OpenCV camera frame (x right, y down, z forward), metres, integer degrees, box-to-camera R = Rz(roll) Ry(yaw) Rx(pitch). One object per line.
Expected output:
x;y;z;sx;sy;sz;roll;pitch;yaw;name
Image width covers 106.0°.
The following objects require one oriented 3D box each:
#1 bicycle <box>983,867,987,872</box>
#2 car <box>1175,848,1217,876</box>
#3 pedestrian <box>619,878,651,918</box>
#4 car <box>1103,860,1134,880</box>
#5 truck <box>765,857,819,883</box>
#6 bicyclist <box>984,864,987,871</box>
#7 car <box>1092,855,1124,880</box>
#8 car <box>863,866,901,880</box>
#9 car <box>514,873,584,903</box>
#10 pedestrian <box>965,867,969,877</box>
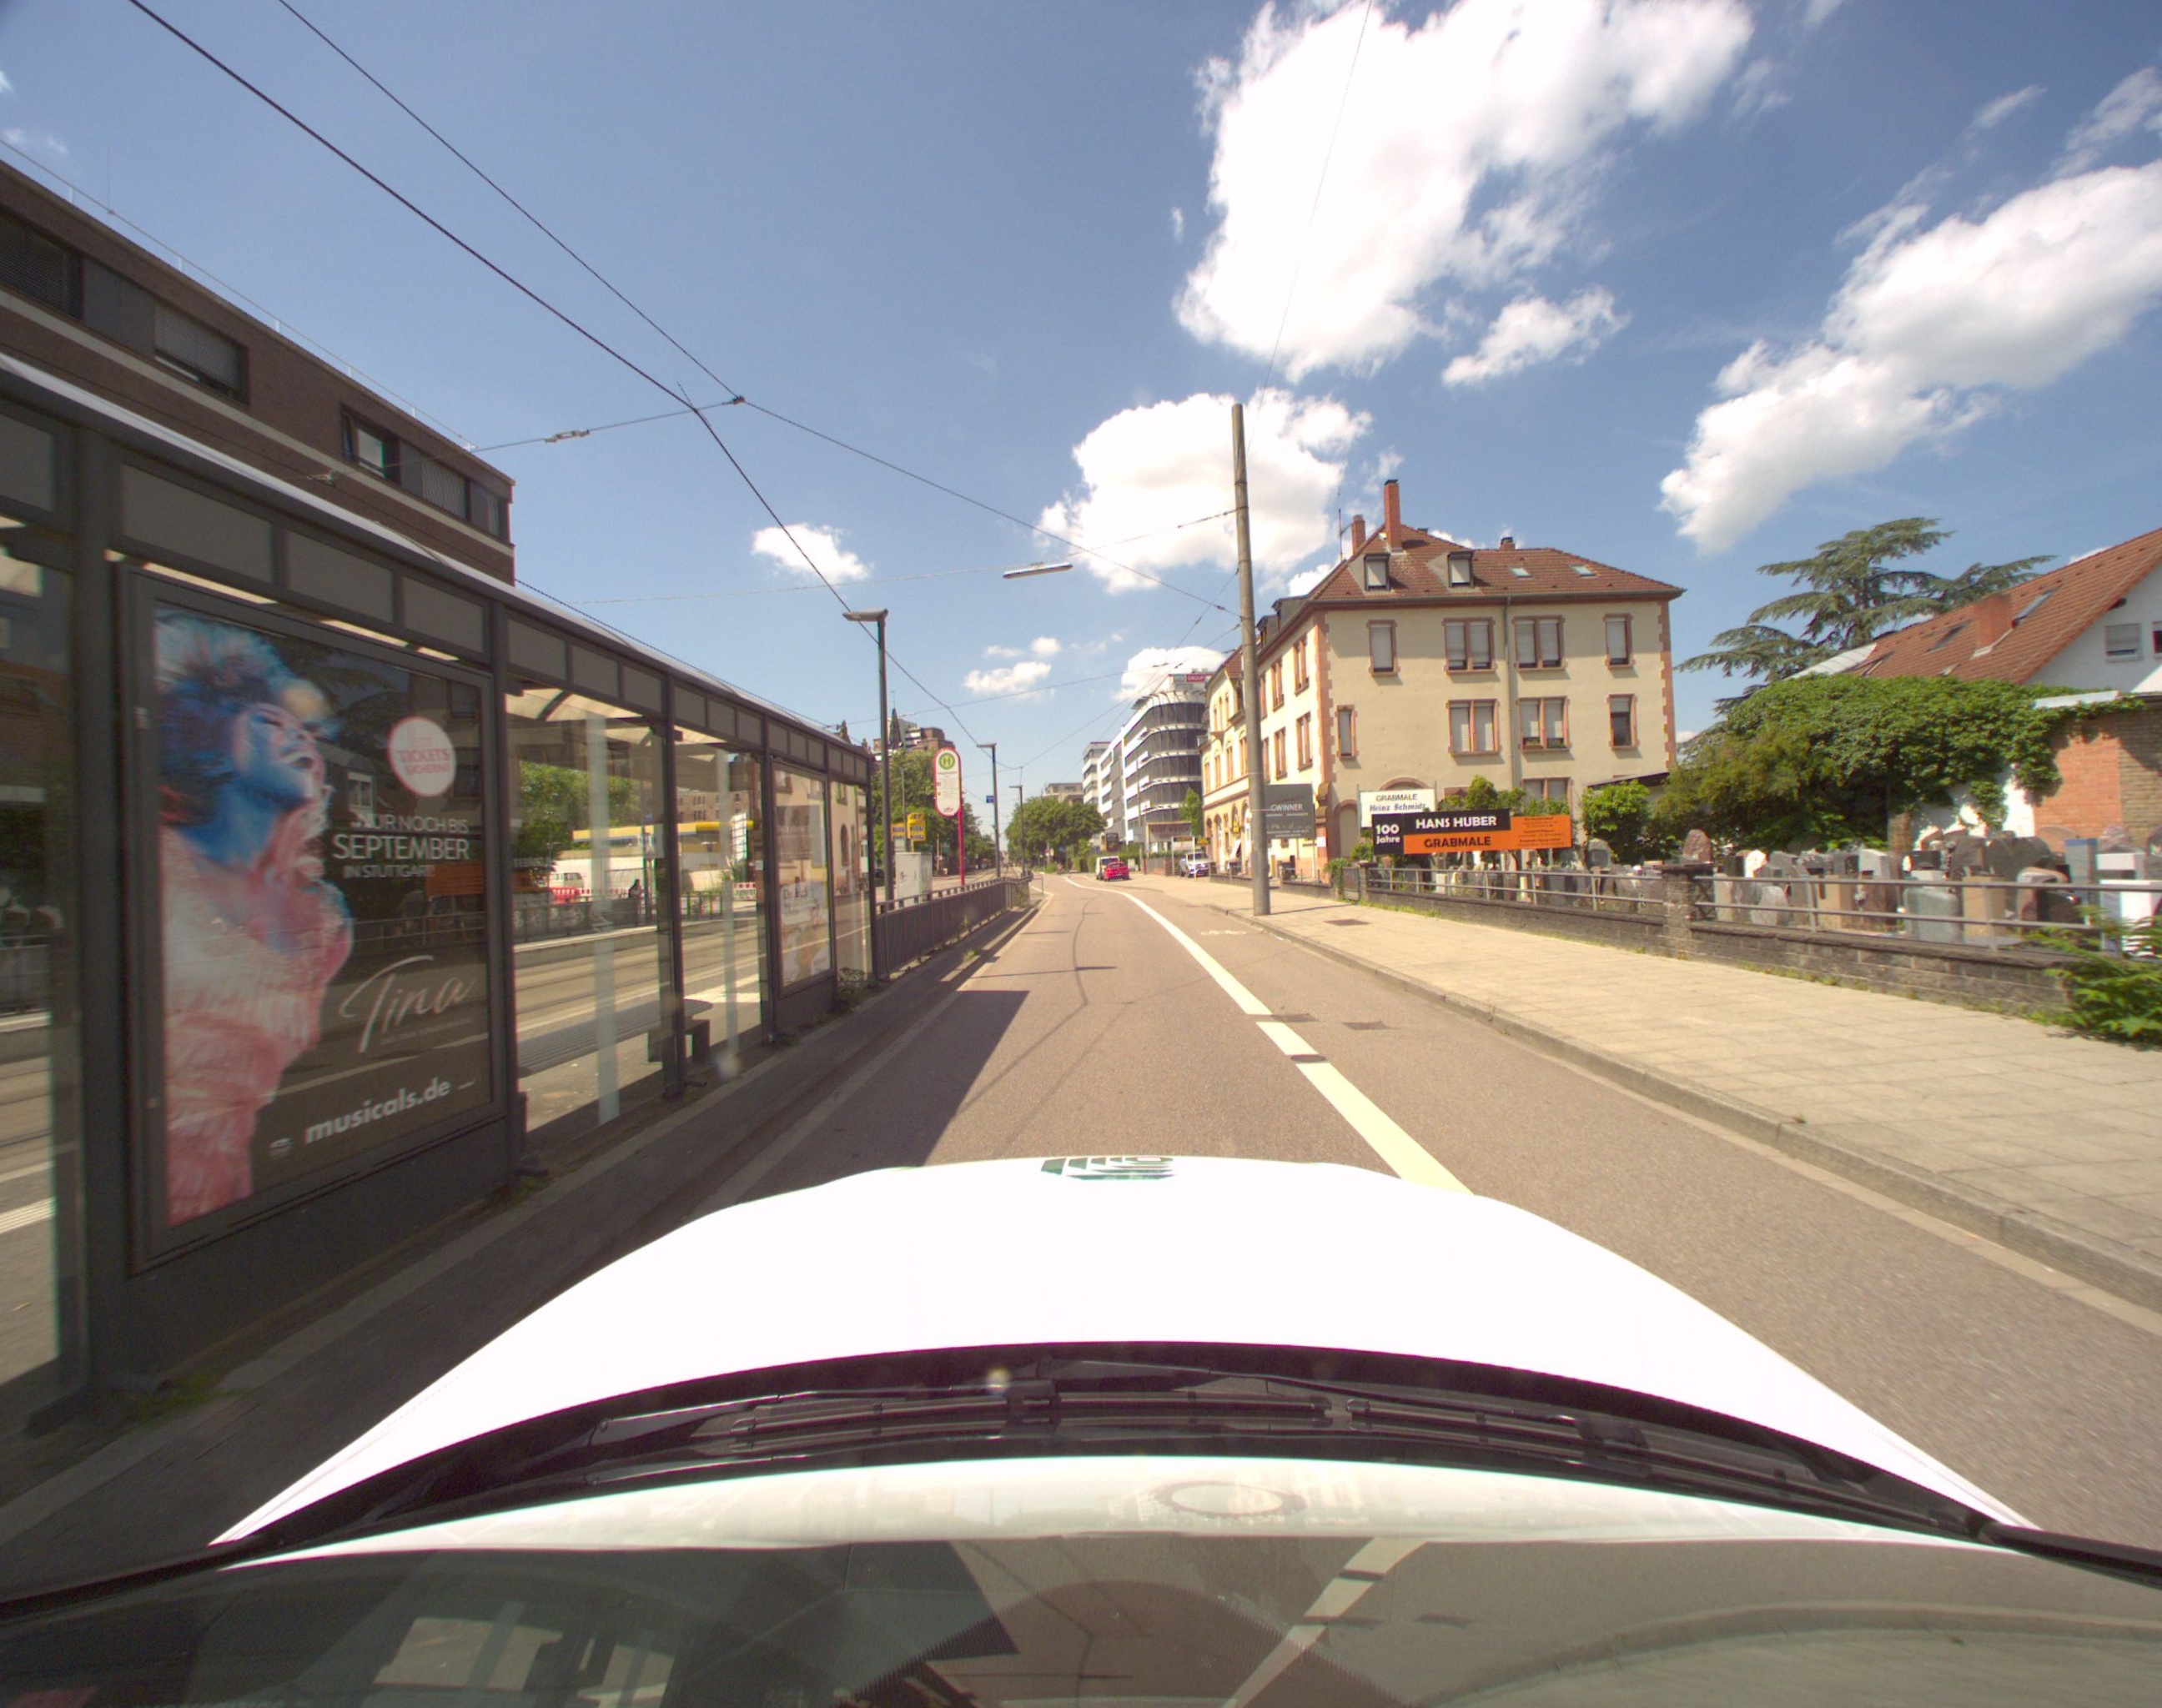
-23.520;3.825;199.507;0.700;1.204;2.236;-4;-1;-5;bicycle
7.621;0.557;54.248;1.873;1.624;4.635;-5;0;-2;car
-18.643;1.821;34.086;0.758;1.596;0.999;1;-1;-2;pedestrian
2.916;1.267;64.108;1.989;1.442;4.012;-2;0;-3;car
-29.219;1.588;82.473;1.975;2.498;5.233;-2;-1;25;truck
-23.348;3.236;199.358;0.641;1.679;0.813;-2;-1;-6;bicyclist
2.293;1.165;70.726;1.990;1.991;5.505;-4;0;-5;car
-25.560;2.448;104.572;1.974;1.590;4.361;-3;-1;39;car
-39.094;2.493;59.885;4.211;1.937;1.901;-2;-1;13;car
-22.065;3.499;157.553;0.813;1.770;0.923;-2;-1;-6;pedestrian
